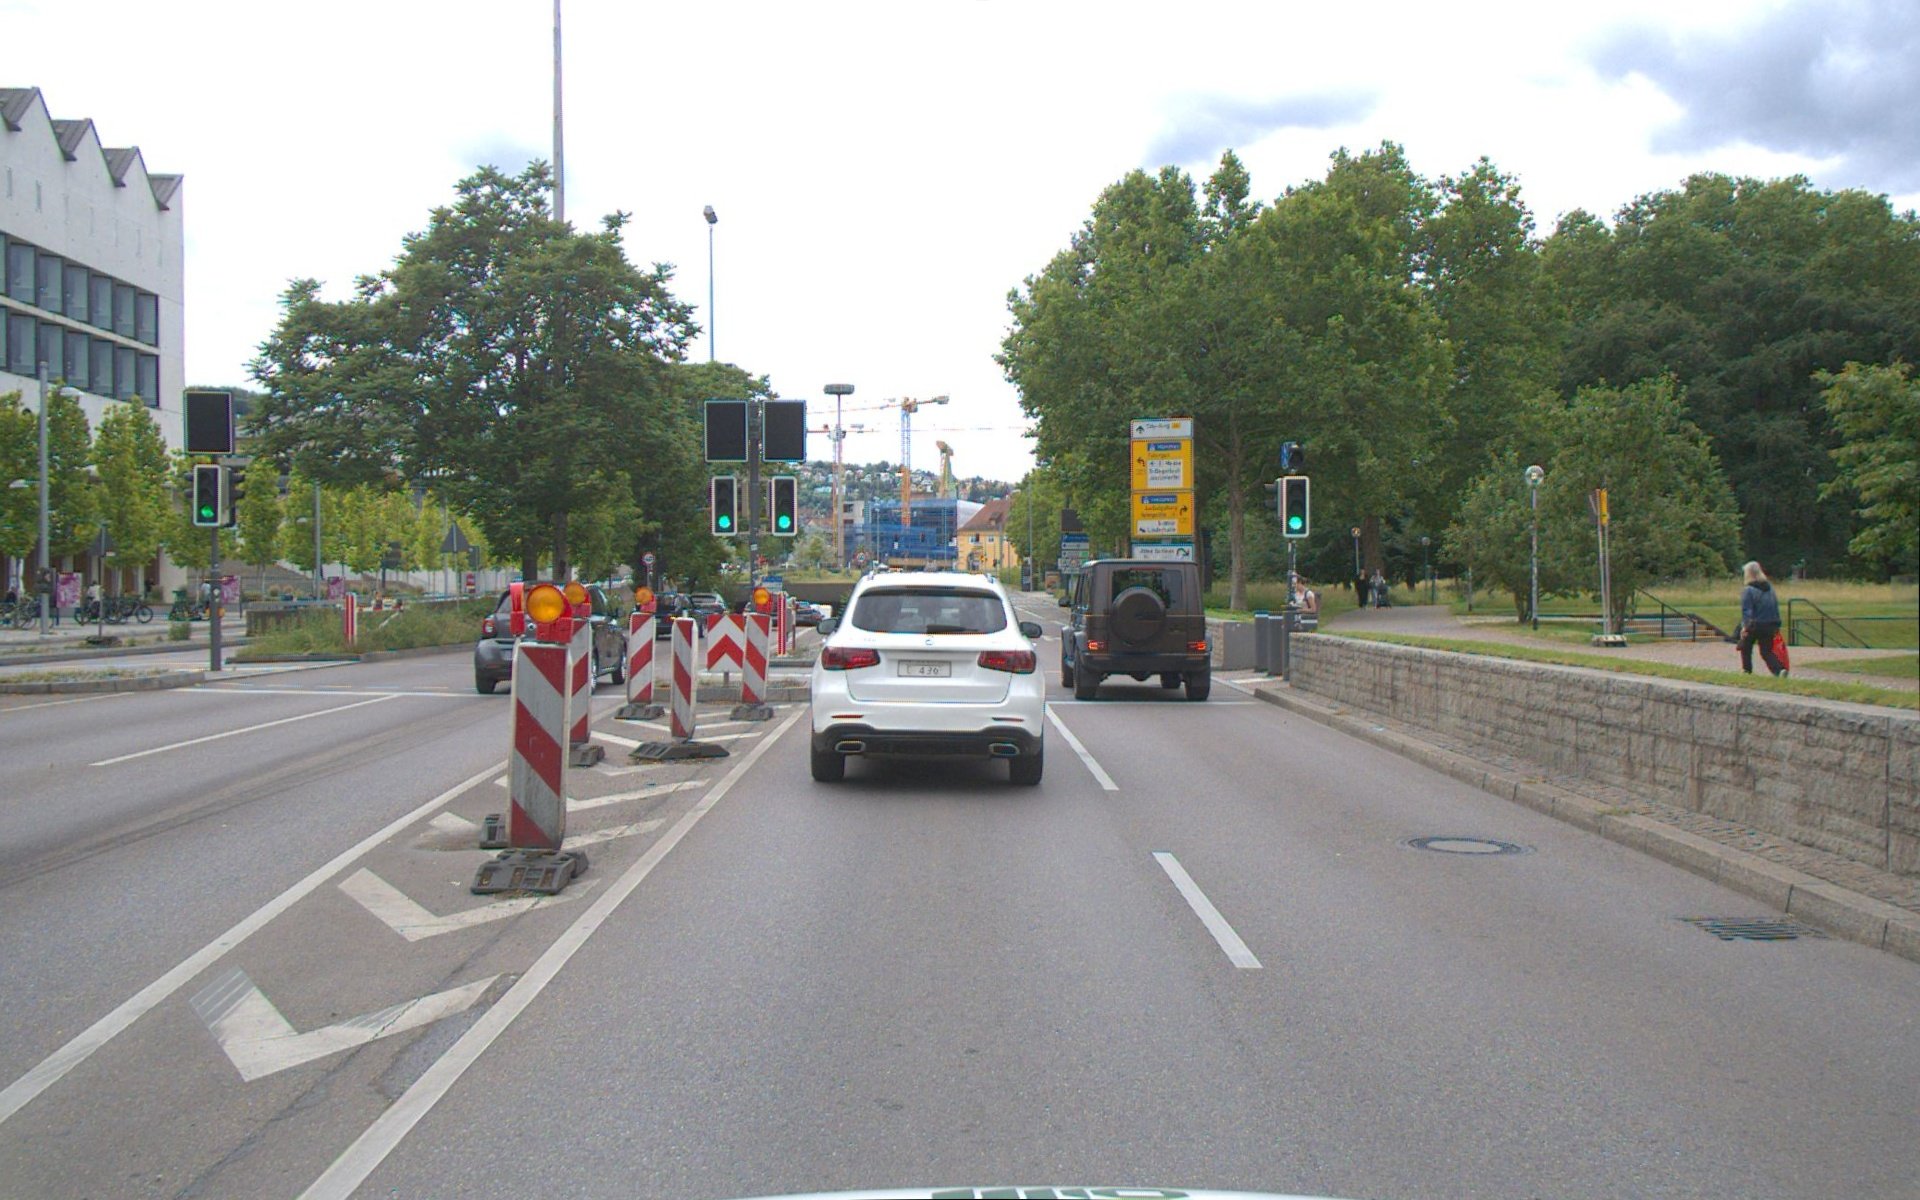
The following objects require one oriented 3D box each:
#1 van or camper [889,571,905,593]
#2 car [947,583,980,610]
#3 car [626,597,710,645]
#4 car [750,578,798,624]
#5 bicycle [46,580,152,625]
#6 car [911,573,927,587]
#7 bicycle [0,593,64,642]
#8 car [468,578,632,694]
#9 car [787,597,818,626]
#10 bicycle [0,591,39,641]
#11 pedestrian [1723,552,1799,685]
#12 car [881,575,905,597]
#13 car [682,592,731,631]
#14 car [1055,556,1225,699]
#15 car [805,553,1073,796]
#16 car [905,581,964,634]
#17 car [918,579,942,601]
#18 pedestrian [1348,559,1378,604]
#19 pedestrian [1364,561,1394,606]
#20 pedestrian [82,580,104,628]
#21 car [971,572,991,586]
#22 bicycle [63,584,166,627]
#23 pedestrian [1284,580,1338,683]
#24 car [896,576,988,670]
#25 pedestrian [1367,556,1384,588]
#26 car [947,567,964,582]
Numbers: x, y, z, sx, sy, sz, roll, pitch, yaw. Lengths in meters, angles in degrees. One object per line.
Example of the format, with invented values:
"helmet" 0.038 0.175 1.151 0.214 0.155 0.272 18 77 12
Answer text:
"van or camper" -7.391 -2.104 193.777 1.884 2.360 3.997 1 -1 -3
"car" 0.220 -0.240 110.383 1.954 1.691 3.997 2 0 -3
"car" -8.763 0.600 49.870 1.683 1.315 4.001 2 0 1
"car" -7.371 0.033 65.803 1.685 1.708 3.997 2 0 -4
"bicycle" -34.462 0.082 66.262 3.551 1.713 1.179 -1 1 -13
"car" -4.996 -2.358 200.440 1.685 1.612 3.997 2 0 -4
"bicycle" -34.883 0.648 60.480 3.541 1.713 1.182 -1 1 -4
"car" -5.853 0.493 23.979 1.595 1.535 3.538 1 0 -2
"car" -9.451 0.655 99.299 1.686 1.612 3.994 2 0 -7
"bicycle" -34.469 0.560 58.070 3.541 1.713 1.182 -1 1 -4
"pedestrian" 9.823 0.217 20.315 0.668 1.589 0.909 -1 0 15
"car" -5.799 -1.164 143.206 1.953 1.787 3.999 2 0 -1
"car" -10.977 0.473 71.853 1.718 1.580 3.997 2 0 -4
"car" 2.581 0.386 24.842 1.937 1.926 4.705 0 0 -1
"car" -0.253 0.557 14.106 1.902 1.713 3.997 2 0 -3
"car" -0.871 0.225 54.629 1.685 1.612 3.997 2 0 -4
"car" -2.676 -0.895 148.553 1.954 1.812 3.997 2 0 -3
"pedestrian" 15.988 -0.737 65.561 0.878 1.763 0.968 2 0 -2
"pedestrian" 17.824 -0.700 70.335 0.976 1.868 1.030 2 -1 1
"pedestrian" -38.010 0.170 72.515 0.699 2.048 0.736 1 1 -16
"car" 2.544 -2.547 202.652 1.956 1.646 3.994 2 0 -7
"bicycle" -34.875 0.210 68.255 3.551 1.713 1.179 -1 1 -13
"pedestrian" 5.891 0.523 27.782 0.684 1.684 0.683 2 -1 -3
"car" -0.386 0.451 32.239 1.638 1.656 3.998 2 -1 -2
"pedestrian" 17.728 -1.191 70.585 0.570 1.348 0.541 2 -1 -2
"car" -0.524 -2.975 190.846 1.685 1.612 3.997 2 0 -4
